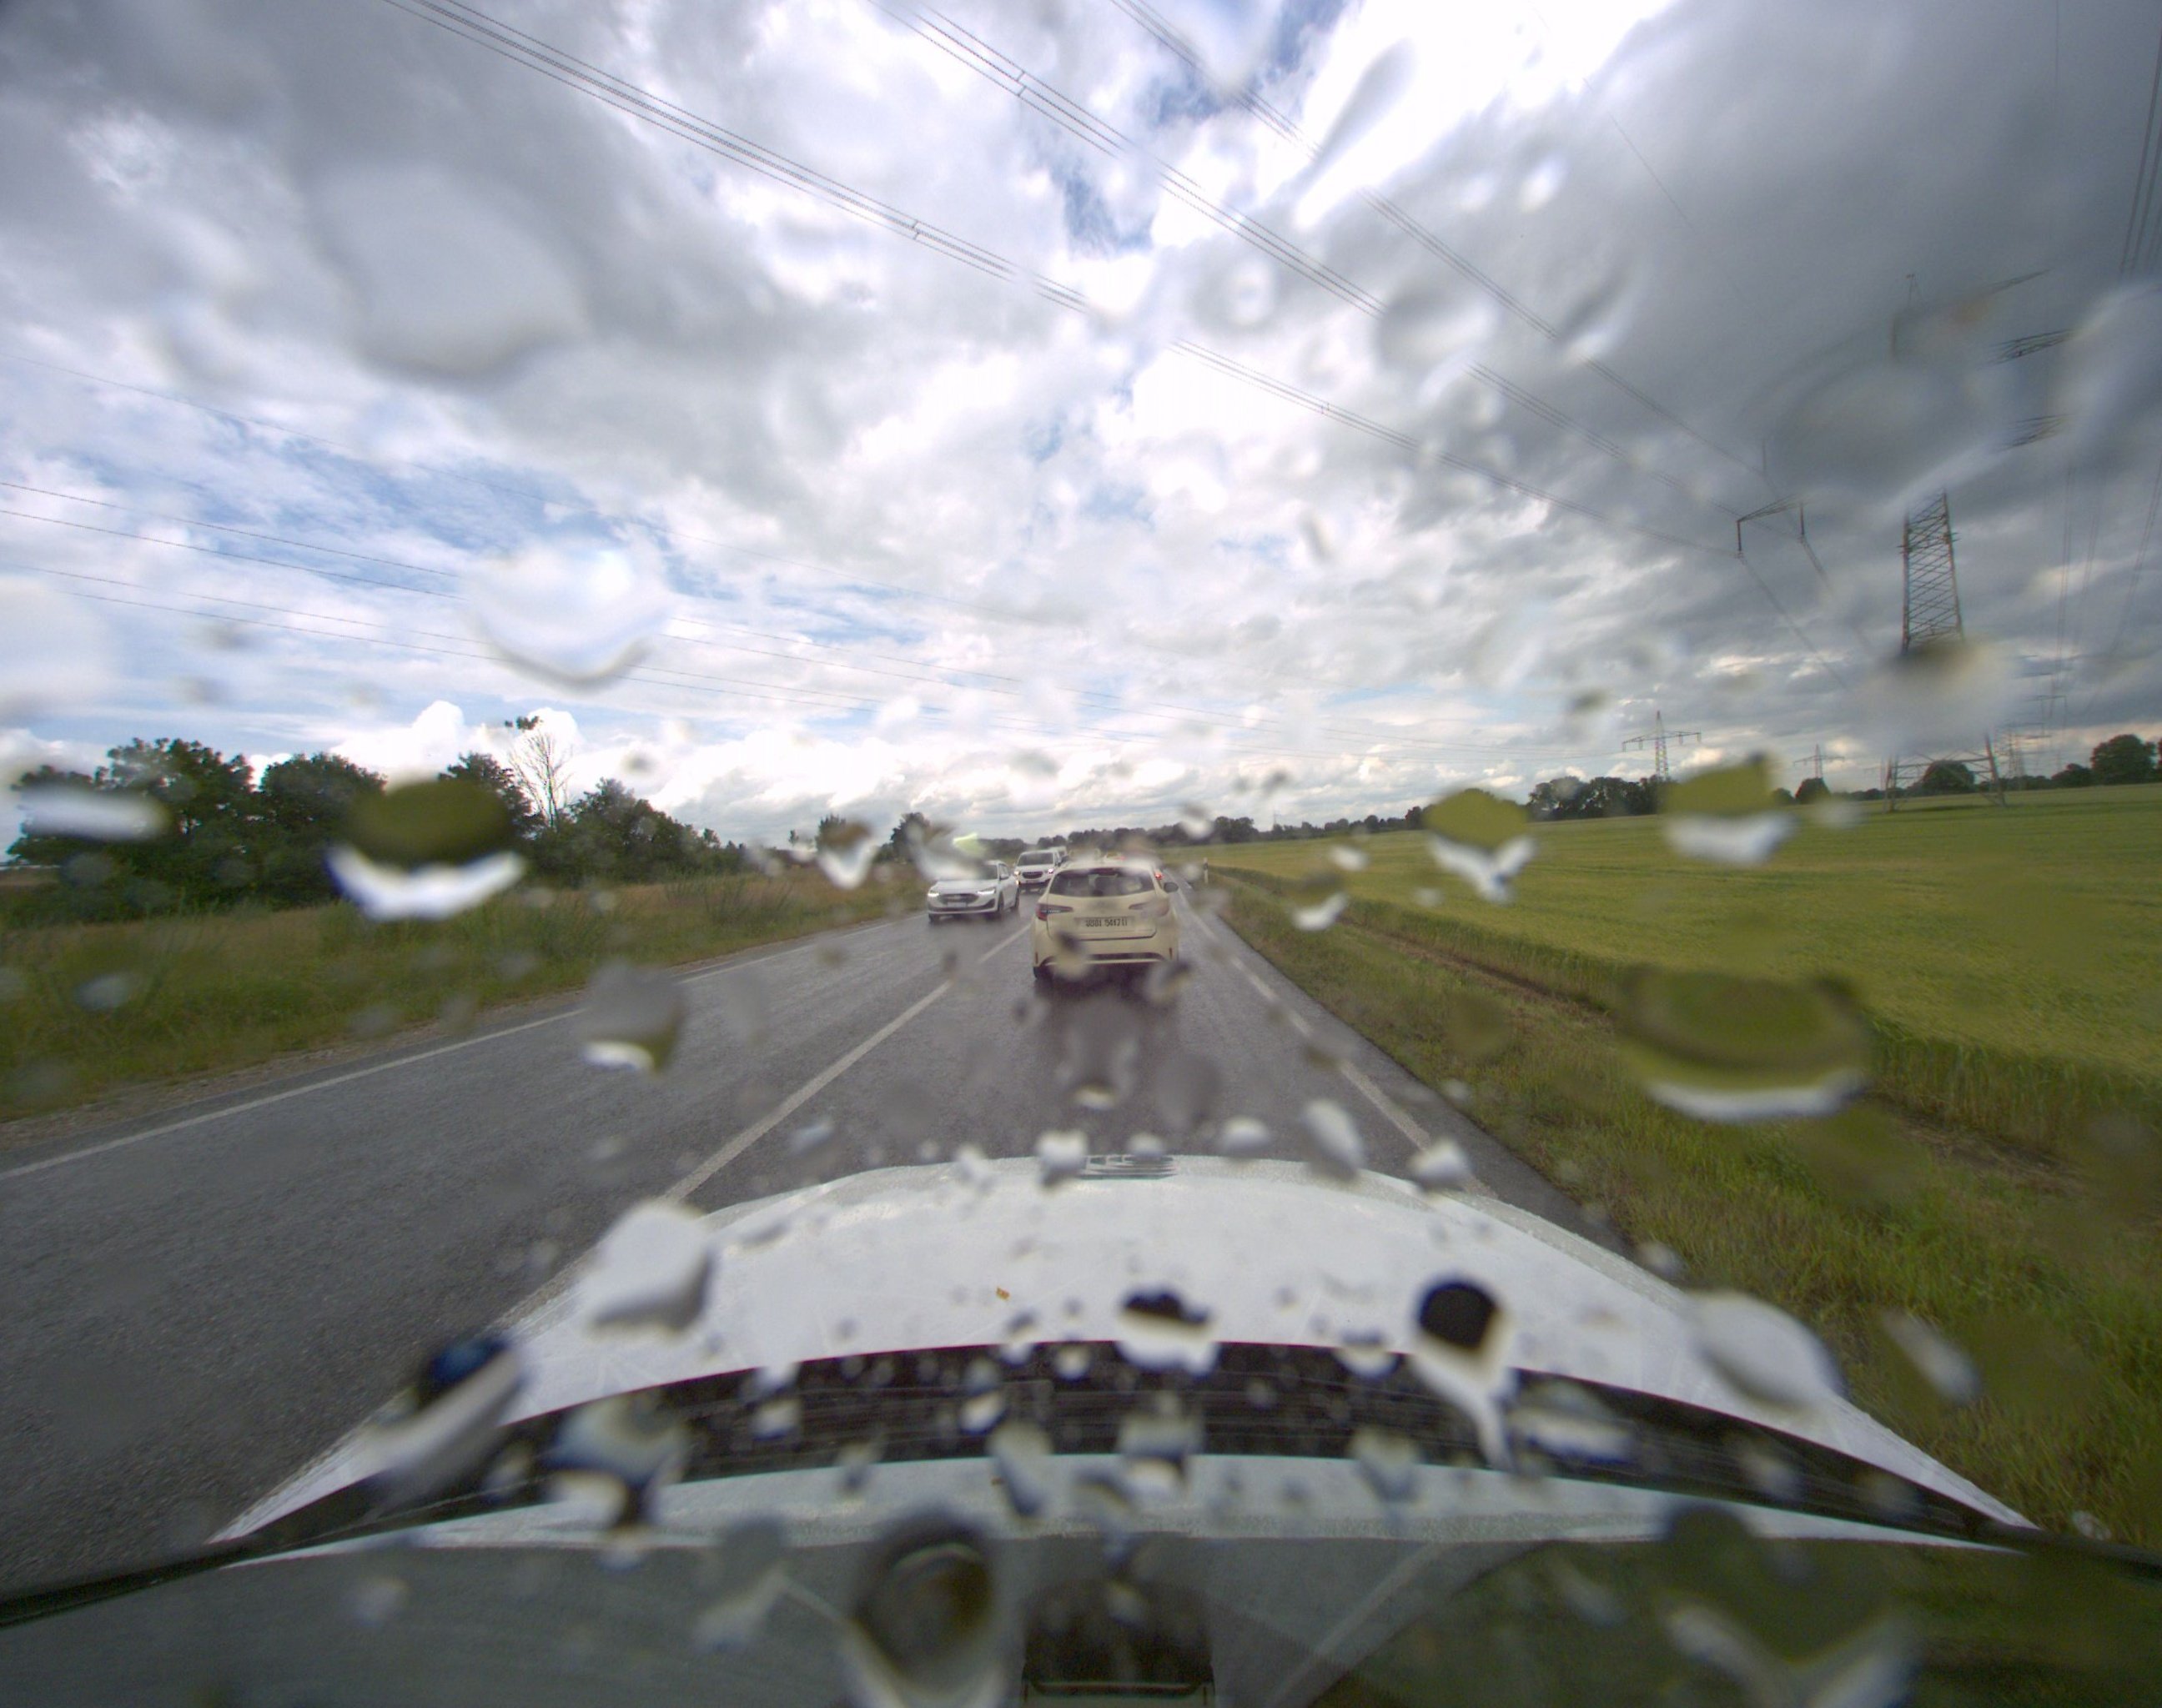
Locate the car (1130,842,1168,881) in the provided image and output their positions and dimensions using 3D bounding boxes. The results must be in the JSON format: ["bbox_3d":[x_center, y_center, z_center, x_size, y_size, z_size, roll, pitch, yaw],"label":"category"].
[{"bbox_3d":[3.033,0.369,36.767,1.606,1.659,3.741,-1,-1,4],"label":"car"}]

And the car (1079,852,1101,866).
[{"bbox_3d":[1.003,0.585,91.976,1.784,1.413,3.723,0,-1,-11],"label":"car"}]

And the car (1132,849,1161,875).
[{"bbox_3d":[3.784,0.509,47.051,1.605,1.413,3.742,-1,-1,4],"label":"car"}]

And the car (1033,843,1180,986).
[{"bbox_3d":[0.405,0.718,10.883,1.606,1.562,3.742,-1,-1,4],"label":"car"}]

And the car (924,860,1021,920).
[{"bbox_3d":[-2.724,0.878,21.387,1.837,1.388,4.288,-1,-1,2],"label":"car"}]

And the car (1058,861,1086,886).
[{"bbox_3d":[-0.635,1.395,59.229,1.842,1.631,4.535,-2,0,1],"label":"car"}]

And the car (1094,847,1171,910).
[{"bbox_3d":[1.352,0.593,21.725,1.833,1.492,4.611,-1,0,3],"label":"car"}]

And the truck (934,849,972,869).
[{"bbox_3d":[-22.091,0.963,139.881,3.037,3.210,8.140,1,-2,-37],"label":"truck"}]

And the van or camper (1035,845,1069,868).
[{"bbox_3d":[-3.979,0.329,108.816,2.546,2.896,6.695,-1,0,-21],"label":"van or camper"}]

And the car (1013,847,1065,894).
[{"bbox_3d":[-1.763,0.692,35.234,1.837,1.855,4.448,-1,-1,2],"label":"car"}]
